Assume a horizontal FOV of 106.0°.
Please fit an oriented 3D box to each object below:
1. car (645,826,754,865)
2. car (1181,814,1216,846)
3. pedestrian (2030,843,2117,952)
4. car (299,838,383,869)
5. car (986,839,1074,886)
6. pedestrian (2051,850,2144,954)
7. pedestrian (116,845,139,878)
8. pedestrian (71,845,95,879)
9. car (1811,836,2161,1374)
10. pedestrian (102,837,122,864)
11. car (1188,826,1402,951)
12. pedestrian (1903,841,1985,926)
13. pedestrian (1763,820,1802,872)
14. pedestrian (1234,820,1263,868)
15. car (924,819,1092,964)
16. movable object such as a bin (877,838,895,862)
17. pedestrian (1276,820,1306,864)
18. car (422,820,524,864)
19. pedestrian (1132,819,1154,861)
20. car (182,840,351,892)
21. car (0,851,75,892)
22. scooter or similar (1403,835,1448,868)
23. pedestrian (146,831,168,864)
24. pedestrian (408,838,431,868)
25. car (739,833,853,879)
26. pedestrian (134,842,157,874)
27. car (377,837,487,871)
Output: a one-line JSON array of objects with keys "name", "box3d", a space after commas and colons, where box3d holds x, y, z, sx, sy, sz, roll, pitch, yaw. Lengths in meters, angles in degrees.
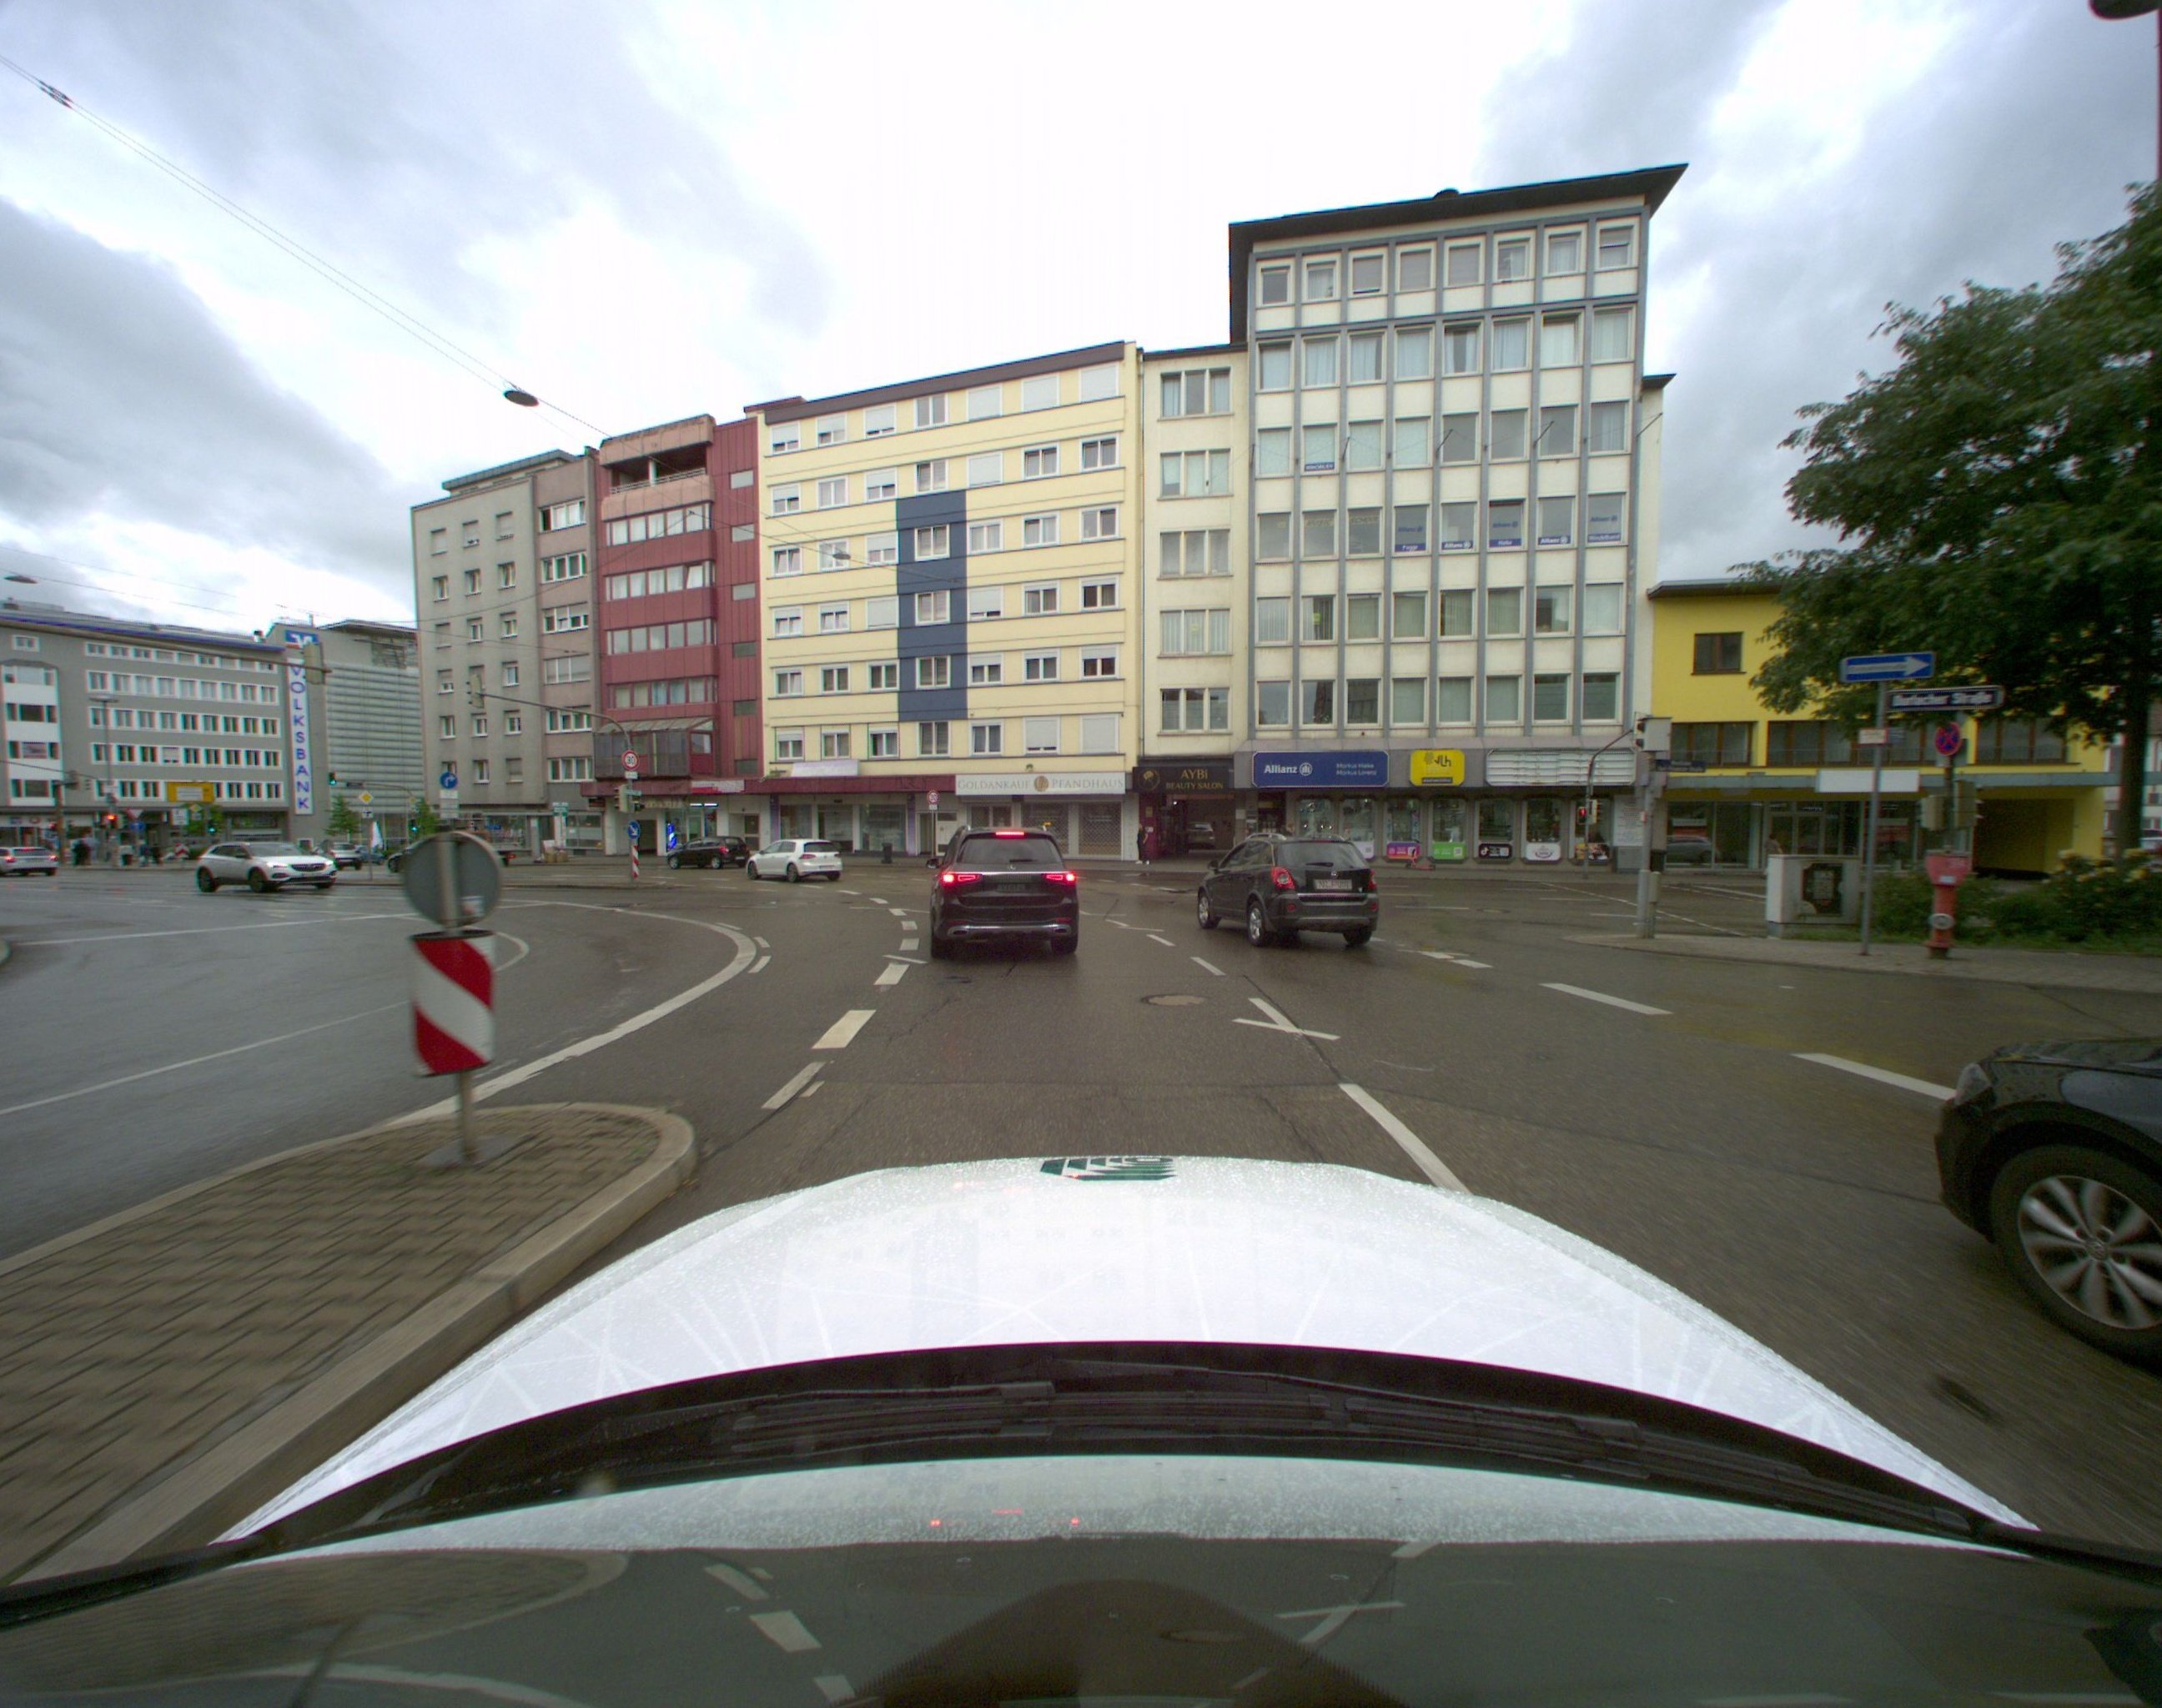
[{"name": "car", "box3d": [-17.226, -0.368, 36.779, 4.442, 1.658, 1.838, 1, -1, 21]}, {"name": "car", "box3d": [6.608, -1.316, 46.153, 1.788, 1.670, 4.007, -1, 0, 6]}, {"name": "pedestrian", "box3d": [17.418, 0.766, 14.315, 0.710, 1.828, 0.679, 3, -3, 0]}, {"name": "car", "box3d": [-40.252, -0.053, 44.277, 4.604, 1.515, 1.942, 1, -2, 29]}, {"name": "car", "box3d": [-1.755, 0.256, 26.618, 1.773, 1.397, 3.972, -1, 0, -21]}, {"name": "pedestrian", "box3d": [17.065, 0.800, 13.688, 0.708, 1.677, 0.680, 3, -3, 8]}, {"name": "pedestrian", "box3d": [-59.473, 0.471, 50.817, 0.844, 2.013, 0.819, 0, 0, 33]}, {"name": "pedestrian", "box3d": [-60.896, 0.473, 49.703, 0.844, 2.013, 0.819, 0, 0, 33]}, {"name": "car", "box3d": [3.748, 0.699, 1.354, 1.681, 1.477, 4.005, 0, 1, 4]}, {"name": "pedestrian", "box3d": [-71.683, -0.252, 60.258, 0.844, 2.013, 0.819, 0, 0, 33]}, {"name": "car", "box3d": [3.368, 0.420, 13.831, 1.896, 1.694, 4.493, -2, 2, -8]}, {"name": "pedestrian", "box3d": [19.515, 0.648, 18.434, 0.822, 1.827, 0.889, 2, 1, -7]}, {"name": "pedestrian", "box3d": [25.529, -0.275, 29.644, 0.891, 1.827, 0.675, 4, -2, -19]}, {"name": "pedestrian", "box3d": [6.643, -0.408, 32.325, 1.025, 1.798, 0.832, 0, 6, 6]}, {"name": "car", "box3d": [-1.346, 0.407, 12.665, 2.040, 1.798, 4.644, -1, 1, -12]}, {"name": "movable object such as a bin", "box3d": [-8.792, -0.176, 36.661, 0.539, 0.950, 0.614, -8, 9, -32]}, {"name": "pedestrian", "box3d": [8.474, -0.494, 32.923, 1.025, 1.688, 0.832, 0, 6, 6]}, {"name": "car", "box3d": [-32.399, -0.636, 43.392, 5.360, 2.228, 2.263, 1, 0, 29]}, {"name": "pedestrian", "box3d": [2.639, -0.608, 34.874, 0.756, 1.688, 0.562, -3, 7, -22]}, {"name": "car", "box3d": [-26.871, 0.376, 26.885, 4.681, 1.556, 2.010, 0, 2, 19]}, {"name": "car", "box3d": [-52.747, 0.845, 40.444, 4.682, 1.789, 2.010, 2, 1, 19]}, {"name": "scooter or similar", "box3d": [13.656, -0.102, 32.352, 1.502, 1.210, 0.623, 3, 6, 13]}, {"name": "pedestrian", "box3d": [-58.064, -0.418, 51.179, 0.844, 2.013, 0.819, 0, 0, 33]}, {"name": "pedestrian", "box3d": [-44.372, -0.069, 54.632, 0.810, 2.013, 0.853, 0, 0, -6]}, {"name": "car", "box3d": [-10.155, 0.046, 28.874, 4.344, 1.494, 1.891, 1, 0, 40]}, {"name": "pedestrian", "box3d": [-59.917, 0.267, 52.167, 0.844, 2.013, 0.819, 0, 0, 33]}, {"name": "car", "box3d": [-30.108, -0.010, 37.821, 4.188, 1.486, 2.010, -1, 0, 19]}]
